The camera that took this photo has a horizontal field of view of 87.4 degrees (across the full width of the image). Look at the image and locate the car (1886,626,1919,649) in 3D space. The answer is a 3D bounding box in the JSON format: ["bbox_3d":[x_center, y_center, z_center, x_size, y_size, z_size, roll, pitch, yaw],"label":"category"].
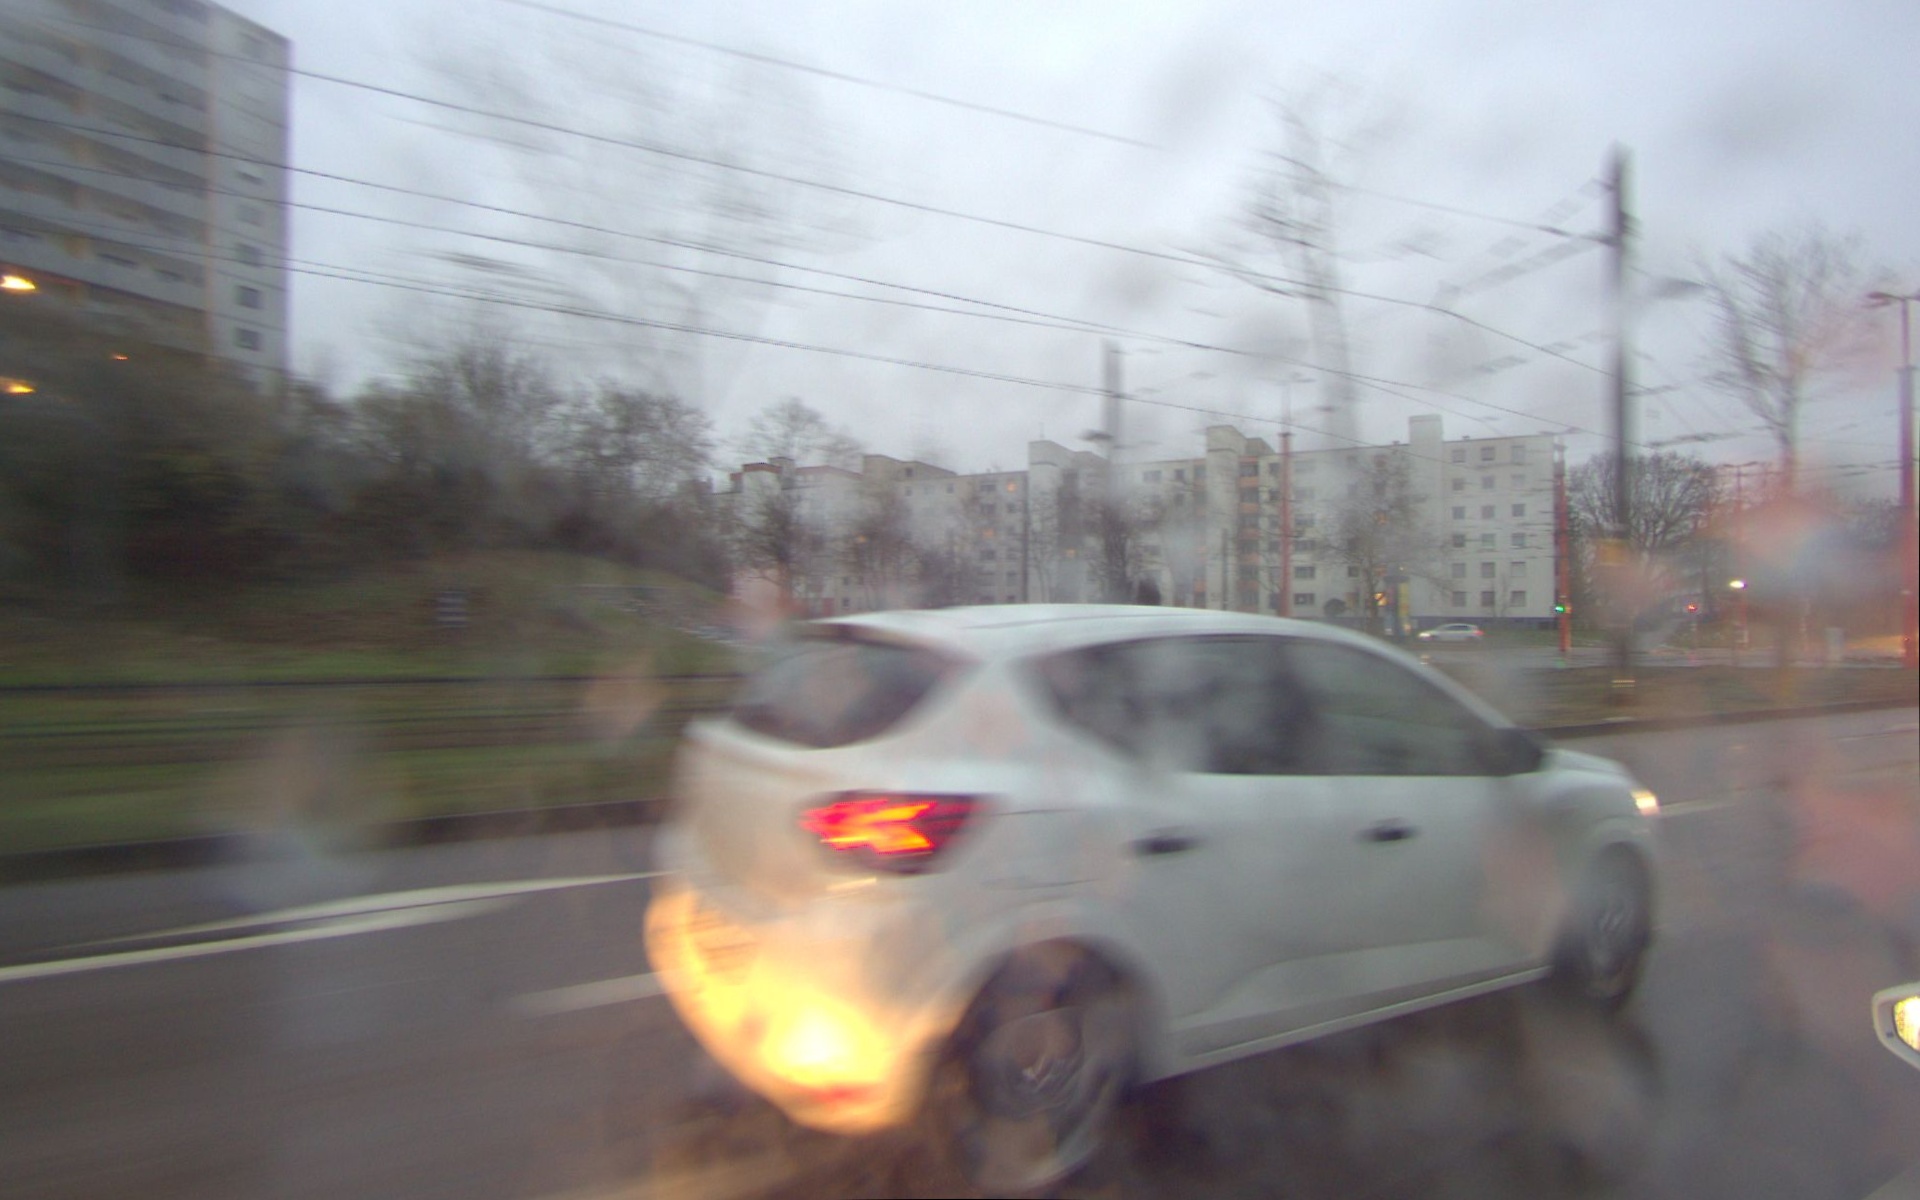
[{"bbox_3d":[66.317,2.588,70.004,3.970,1.515,1.610,1,-1,-31],"label":"car"}]

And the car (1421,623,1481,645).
[{"bbox_3d":[37.233,2.544,76.201,3.921,1.661,1.537,0,-1,19],"label":"car"}]

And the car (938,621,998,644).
[{"bbox_3d":[0.539,2.280,70.143,3.932,1.565,1.708,-1,-2,33],"label":"car"}]

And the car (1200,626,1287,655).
[{"bbox_3d":[16.025,2.254,56.842,4.365,1.565,1.847,-1,-2,33],"label":"car"}]

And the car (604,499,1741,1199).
[{"bbox_3d":[0.957,0.680,3.771,4.097,1.670,1.706,1,-1,-30],"label":"car"}]

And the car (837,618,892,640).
[{"bbox_3d":[-7.190,2.161,75.242,3.932,1.565,1.708,-1,-2,33],"label":"car"}]

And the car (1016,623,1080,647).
[{"bbox_3d":[5.826,2.325,66.755,3.932,1.565,1.708,-1,-2,33],"label":"car"}]
